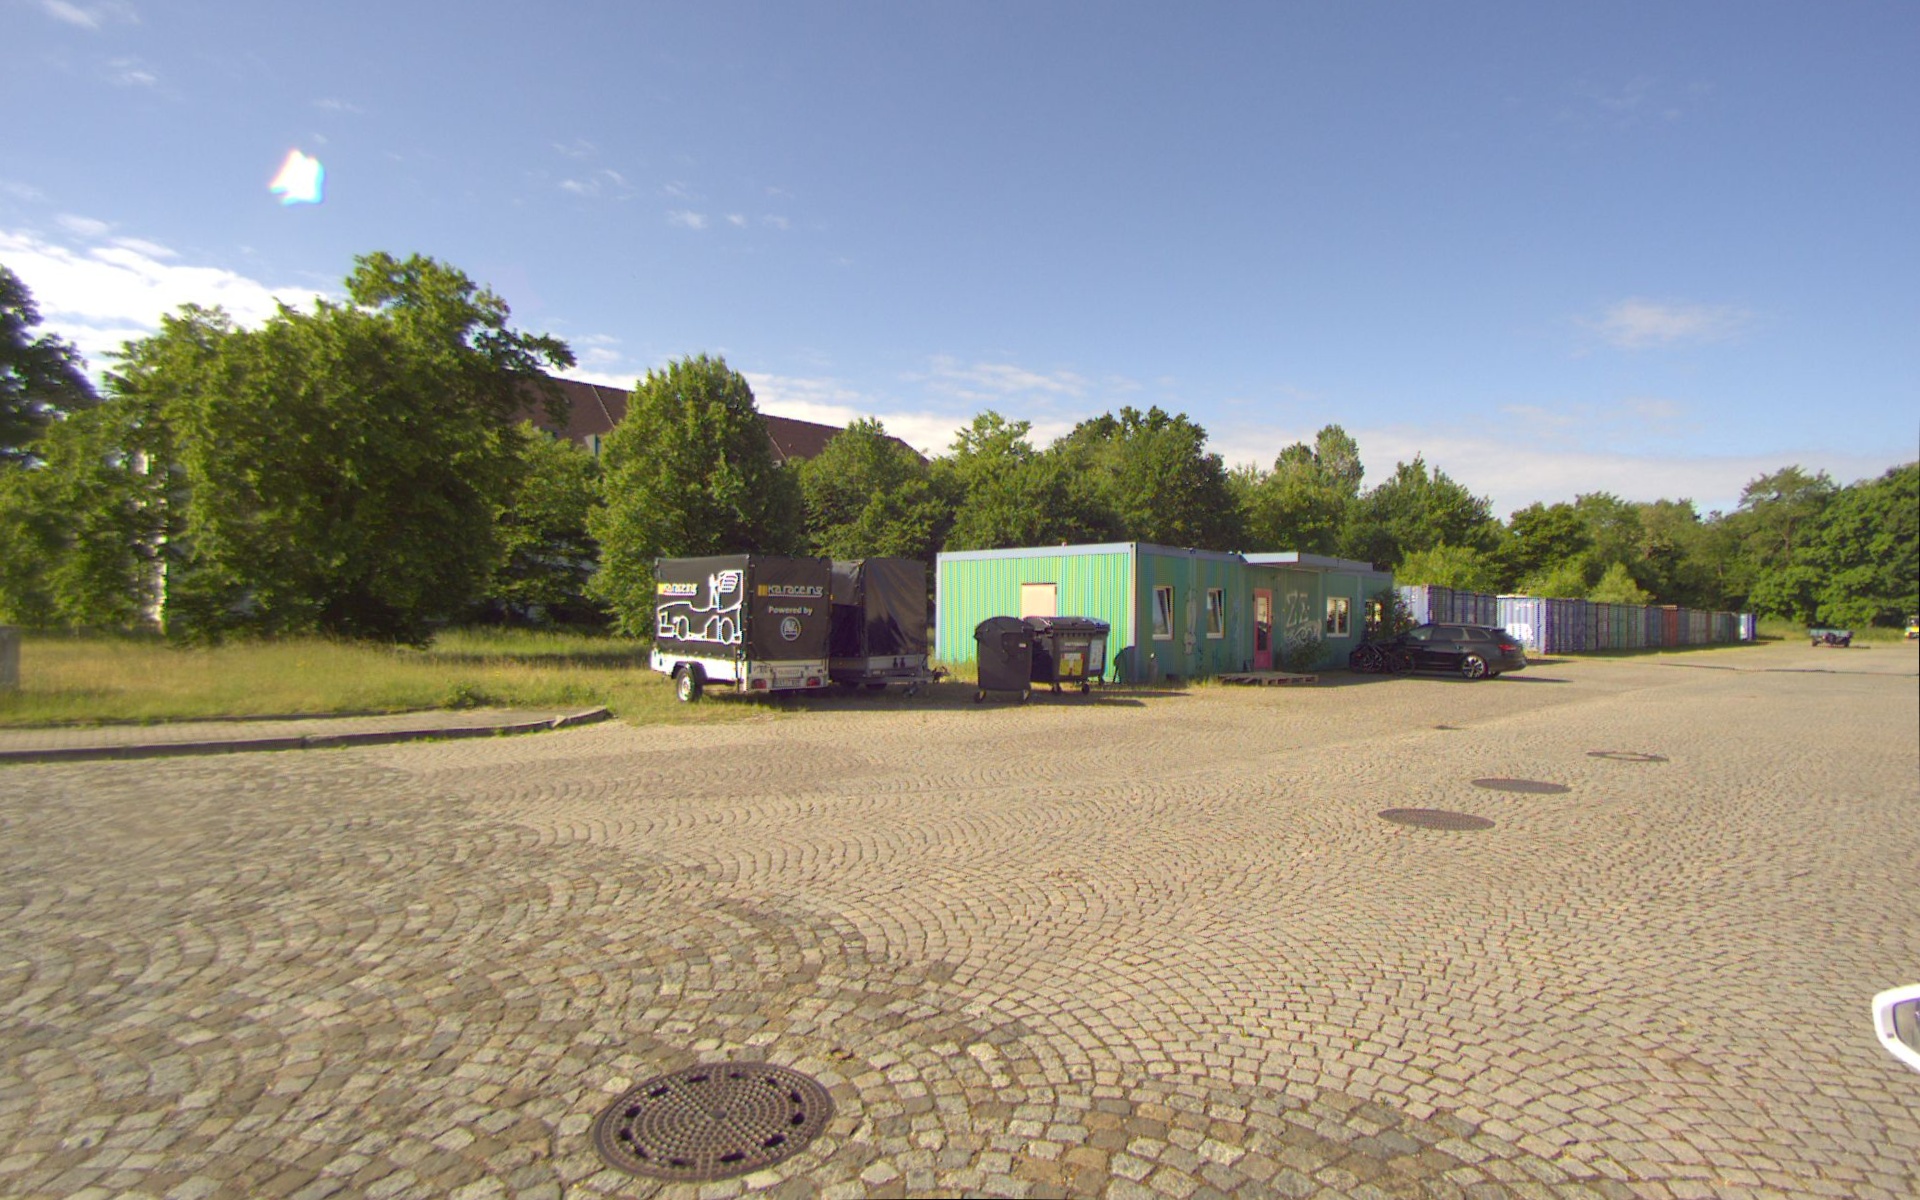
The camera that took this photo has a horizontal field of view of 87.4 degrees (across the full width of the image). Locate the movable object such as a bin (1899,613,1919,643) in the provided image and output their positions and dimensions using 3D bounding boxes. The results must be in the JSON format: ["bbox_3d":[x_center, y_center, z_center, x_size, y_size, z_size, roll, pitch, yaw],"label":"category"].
[{"bbox_3d":[88.208,2.580,92.594,3.968,2.653,1.976,1,1,-41],"label":"movable object such as a bin"}]

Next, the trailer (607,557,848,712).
[{"bbox_3d":[-4.069,0.504,17.143,2.001,2.303,4.409,2,0,-44],"label":"trailer"}]

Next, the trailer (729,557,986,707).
[{"bbox_3d":[-1.996,0.504,18.556,4.782,2.423,1.934,1,0,40],"label":"trailer"}]

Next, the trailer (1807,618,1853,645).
[{"bbox_3d":[71.341,2.560,82.348,4.143,2.040,2.384,1,1,-43],"label":"trailer"}]

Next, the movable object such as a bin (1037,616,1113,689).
[{"bbox_3d":[2.405,1.072,20.907,1.070,1.456,1.405,0,-1,33],"label":"movable object such as a bin"}]

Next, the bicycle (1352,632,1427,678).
[{"bbox_3d":[11.515,1.468,26.956,0.669,1.116,1.691,1,1,-44],"label":"bicycle"}]

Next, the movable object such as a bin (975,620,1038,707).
[{"bbox_3d":[0.804,1.055,17.195,1.026,1.404,1.365,1,-1,3],"label":"movable object such as a bin"}]

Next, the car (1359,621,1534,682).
[{"bbox_3d":[13.279,1.359,27.512,4.002,1.432,1.723,1,0,40],"label":"car"}]

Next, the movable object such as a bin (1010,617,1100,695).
[{"bbox_3d":[1.810,1.044,19.113,1.358,1.404,1.071,1,-1,-41],"label":"movable object such as a bin"}]
